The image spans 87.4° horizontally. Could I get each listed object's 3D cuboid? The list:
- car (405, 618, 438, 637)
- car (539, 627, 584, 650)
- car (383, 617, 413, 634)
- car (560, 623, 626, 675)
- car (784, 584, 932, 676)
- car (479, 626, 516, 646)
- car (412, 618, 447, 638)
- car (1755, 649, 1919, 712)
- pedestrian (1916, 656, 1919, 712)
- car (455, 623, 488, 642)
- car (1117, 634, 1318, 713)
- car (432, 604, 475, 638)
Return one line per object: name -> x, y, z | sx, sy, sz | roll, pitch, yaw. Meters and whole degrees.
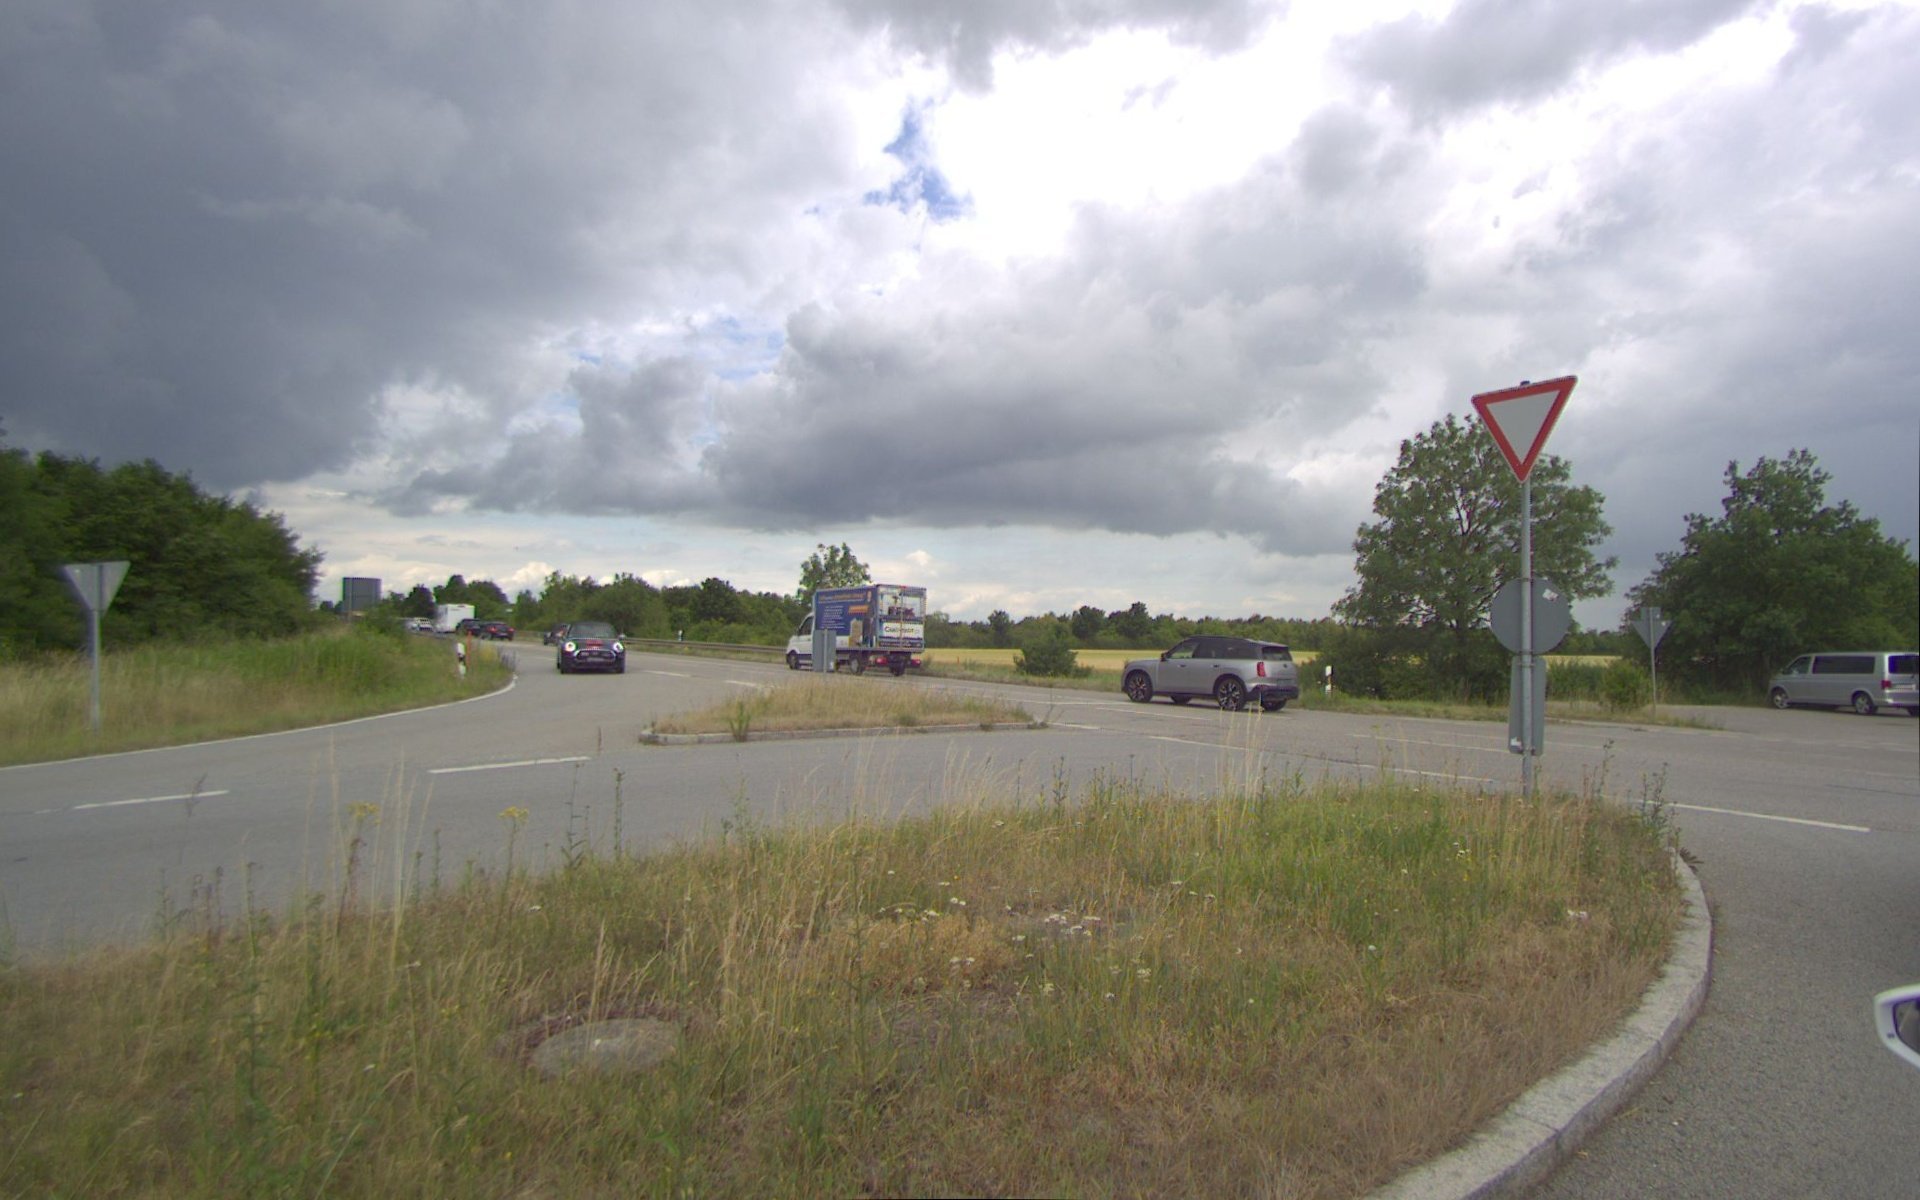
car -> -57.565, 2.995, 107.297 | 2.321, 1.947, 4.822 | 2, -3, -38
car -> -26.926, 2.585, 67.844 | 1.832, 1.545, 3.958 | 2, -3, -37
car -> -64.035, 2.920, 114.359 | 2.320, 1.947, 4.823 | 2, -3, -38
car -> -10.674, 1.379, 29.074 | 1.650, 1.370, 4.148 | 0, -2, -22
car -> -3.922, 1.157, 37.355 | 2.321, 3.068, 6.488 | 5, -5, -37
car -> -37.160, 2.886, 80.700 | 1.832, 1.545, 3.957 | 2, -3, -38
car -> -53.727, 2.827, 101.760 | 2.320, 1.947, 4.823 | 2, -3, -38
car -> 29.230, 2.568, 33.166 | 2.070, 1.910, 5.104 | 0, -3, 3
pedestrian -> 30.399, 2.634, 31.306 | 0.724, 1.745, 0.697 | 2, -2, -31
car -> -42.500, 2.819, 87.394 | 1.831, 1.545, 3.959 | 2, -3, -37
car -> 5.976, 1.683, 23.665 | 1.984, 1.644, 4.213 | 6, -5, -39
car -> -47.842, 2.049, 94.753 | 2.321, 3.069, 6.486 | 2, -3, -38
